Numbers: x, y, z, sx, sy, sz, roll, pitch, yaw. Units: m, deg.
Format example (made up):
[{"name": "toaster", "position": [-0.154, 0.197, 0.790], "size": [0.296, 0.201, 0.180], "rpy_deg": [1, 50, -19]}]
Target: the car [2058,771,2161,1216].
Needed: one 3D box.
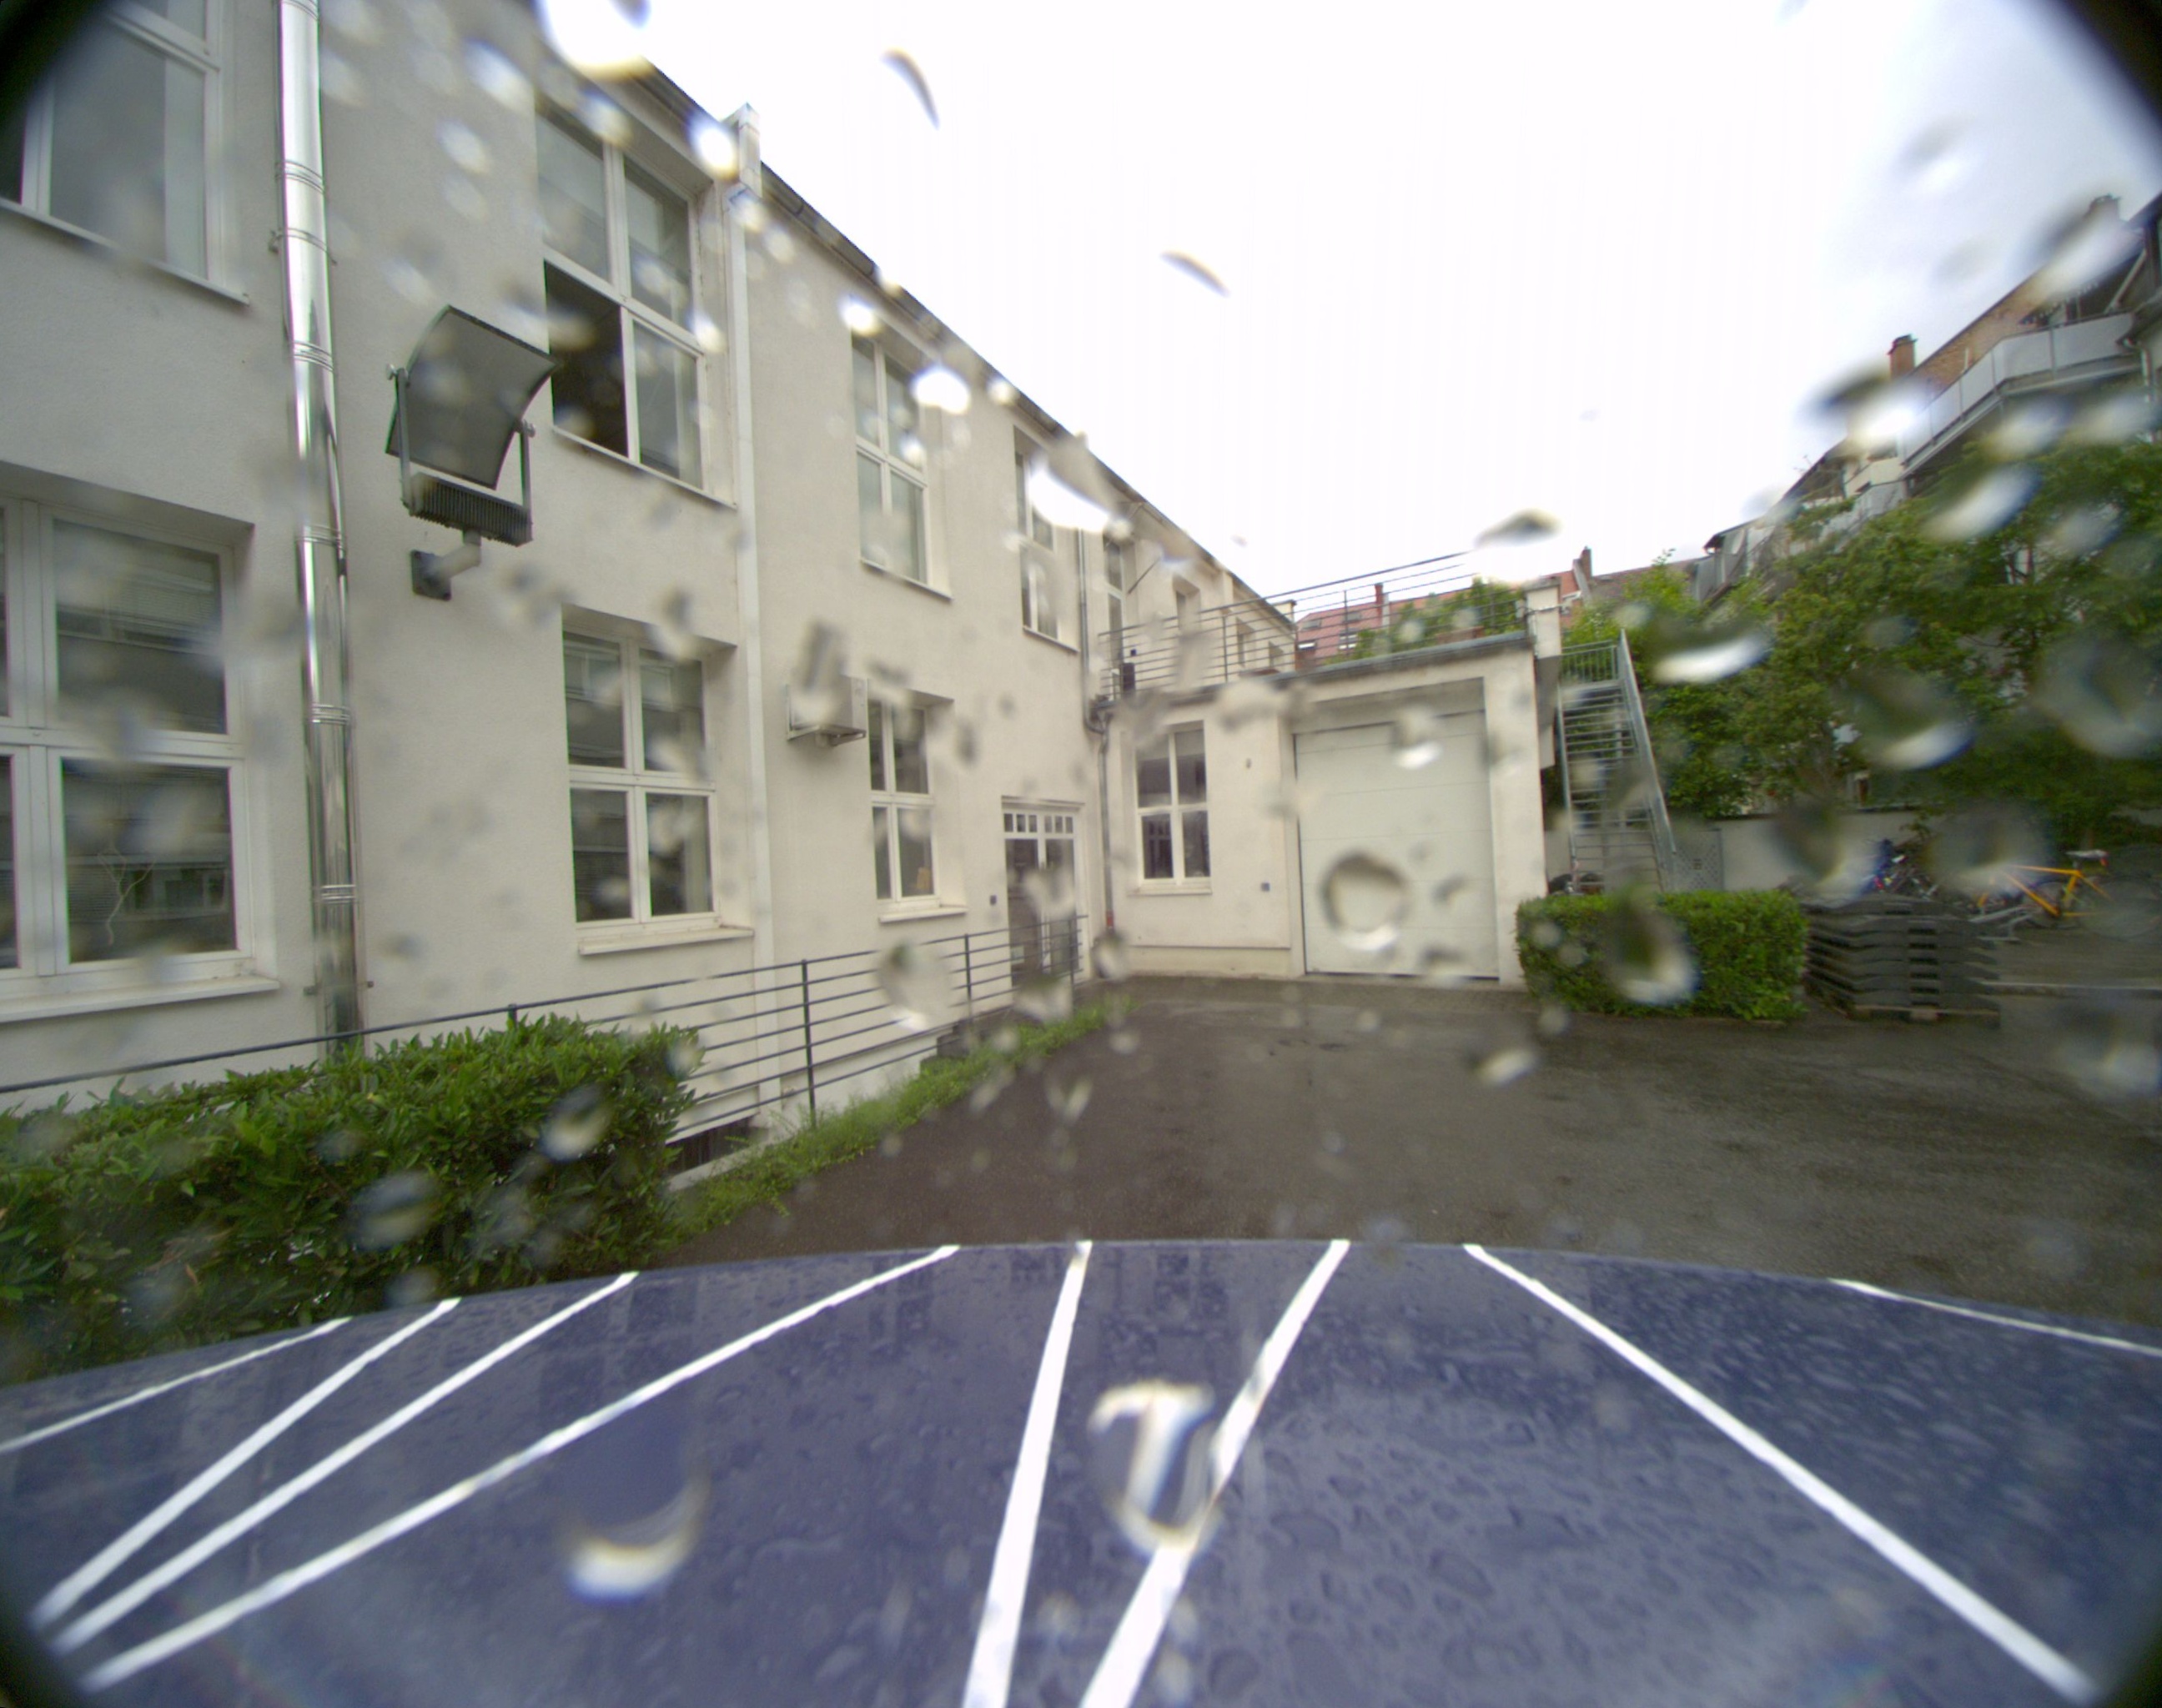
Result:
[{"name": "car", "position": [6.385, 0.479, 1.801], "size": [4.512, 1.886, 2.050], "rpy_deg": [-3, -1, 23]}]
